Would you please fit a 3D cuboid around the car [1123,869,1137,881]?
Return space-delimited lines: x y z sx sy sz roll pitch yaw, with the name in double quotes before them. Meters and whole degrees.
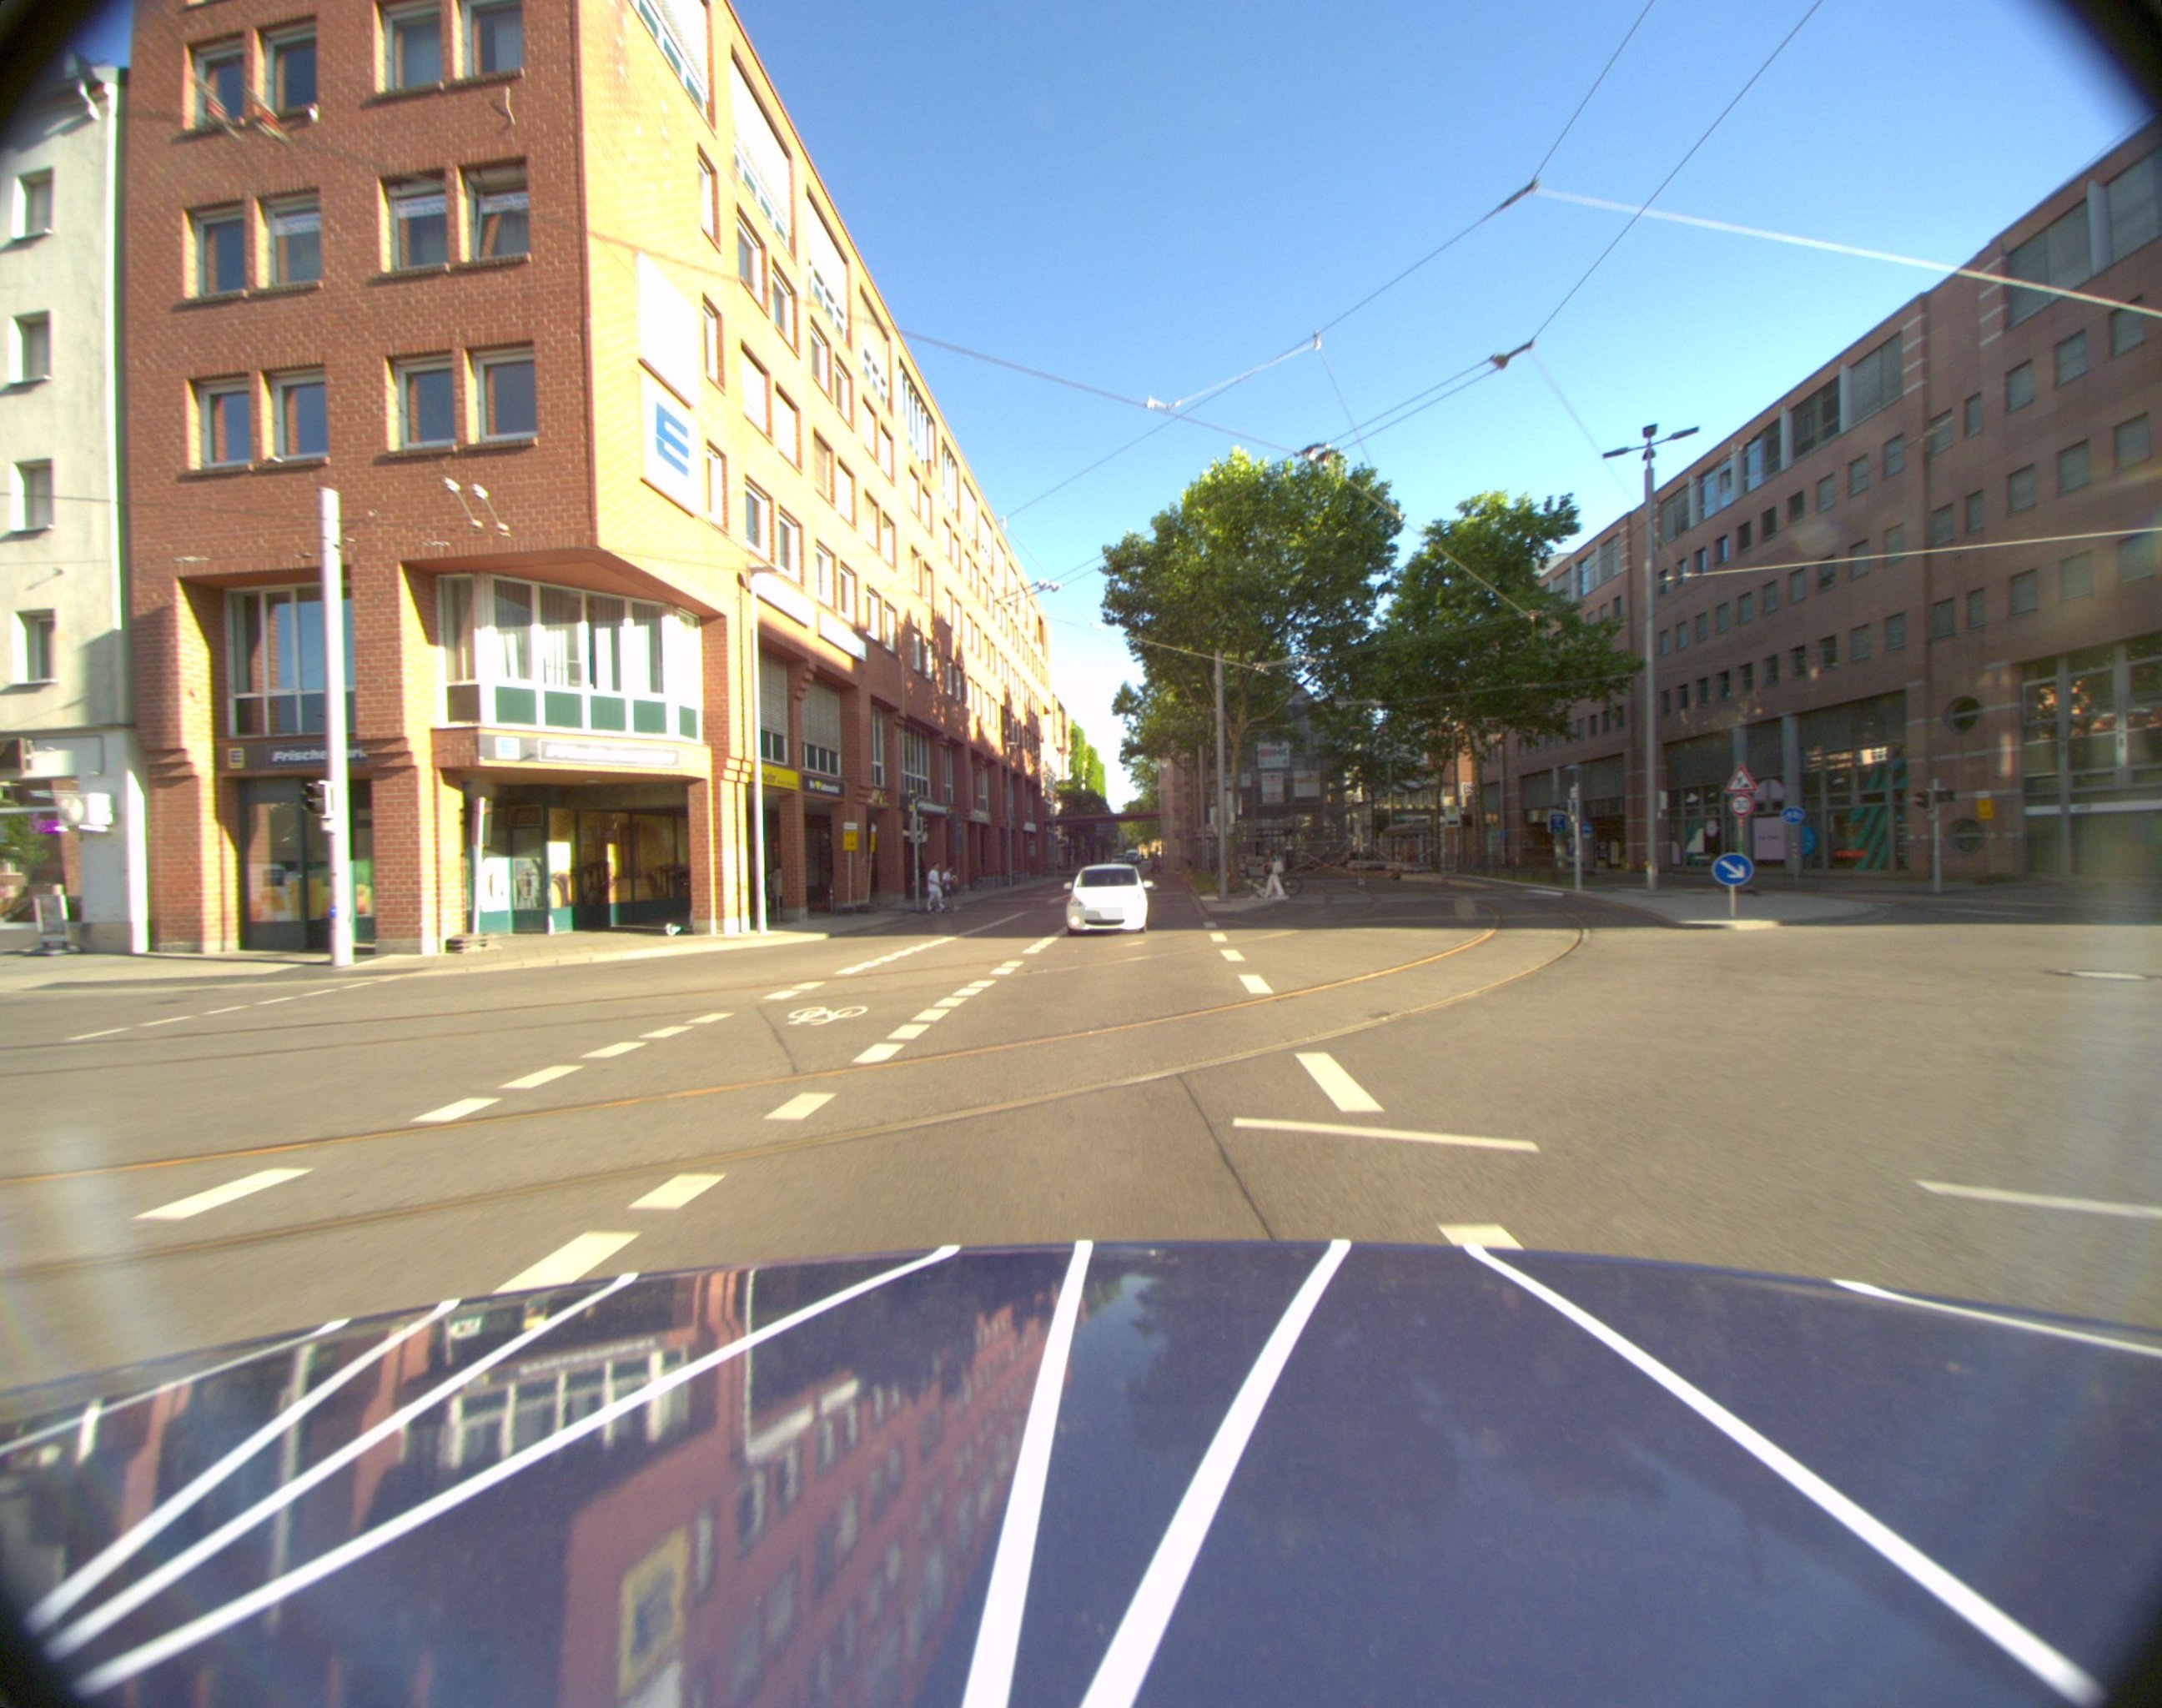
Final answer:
"car" 7.207 3.128 111.462 1.791 1.660 4.443 -2 -1 6

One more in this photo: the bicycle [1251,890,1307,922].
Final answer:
"bicycle" 7.034 1.840 27.049 1.833 1.072 0.481 -2 -1 8

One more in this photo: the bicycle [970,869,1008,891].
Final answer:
"bicycle" -4.811 1.372 39.854 1.895 1.112 0.475 -2 -1 7

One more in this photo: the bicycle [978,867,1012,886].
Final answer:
"bicycle" -5.046 1.316 44.507 1.895 1.112 0.550 -2 -1 7

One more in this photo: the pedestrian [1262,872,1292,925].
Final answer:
"pedestrian" 6.638 1.499 25.762 0.779 1.724 0.849 -2 -1 4

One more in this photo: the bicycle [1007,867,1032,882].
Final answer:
"bicycle" -4.129 1.384 51.200 1.614 0.949 0.555 0 -1 8

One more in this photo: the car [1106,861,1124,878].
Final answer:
"car" 4.452 1.976 98.216 1.922 2.066 5.174 -2 -1 6

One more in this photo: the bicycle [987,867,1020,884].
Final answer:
"bicycle" -4.819 1.361 47.290 1.936 1.050 0.573 0 -1 10

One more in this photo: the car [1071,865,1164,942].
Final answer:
"car" 0.850 1.042 17.432 1.808 1.491 4.202 -2 -1 3

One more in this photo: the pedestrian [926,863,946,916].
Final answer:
"pedestrian" -4.946 1.223 26.001 0.477 1.781 0.541 -2 -1 6

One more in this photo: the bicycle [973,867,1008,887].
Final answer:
"bicycle" -5.204 1.335 43.658 1.895 1.112 0.475 -2 -1 6

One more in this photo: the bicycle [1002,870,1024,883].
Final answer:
"bicycle" -4.328 1.424 48.531 1.336 0.836 0.425 0 -1 8

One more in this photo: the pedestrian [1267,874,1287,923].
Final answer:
"pedestrian" 6.853 1.541 26.562 0.567 1.669 0.531 -2 -1 8

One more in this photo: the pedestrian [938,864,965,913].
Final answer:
"pedestrian" -4.560 1.215 26.833 0.631 1.714 0.634 -1 -1 -44

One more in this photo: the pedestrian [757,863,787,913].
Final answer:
"pedestrian" -10.540 1.149 25.923 0.601 1.652 0.798 -2 -1 6

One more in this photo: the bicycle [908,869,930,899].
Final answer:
"bicycle" -7.077 1.302 33.283 0.340 1.248 1.711 -2 -1 8

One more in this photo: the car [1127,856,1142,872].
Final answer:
"car" 9.140 1.749 128.634 2.119 2.549 5.909 -2 -1 7

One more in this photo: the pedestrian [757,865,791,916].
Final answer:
"pedestrian" -9.908 1.172 24.544 0.847 1.580 0.753 -1 -1 -33
